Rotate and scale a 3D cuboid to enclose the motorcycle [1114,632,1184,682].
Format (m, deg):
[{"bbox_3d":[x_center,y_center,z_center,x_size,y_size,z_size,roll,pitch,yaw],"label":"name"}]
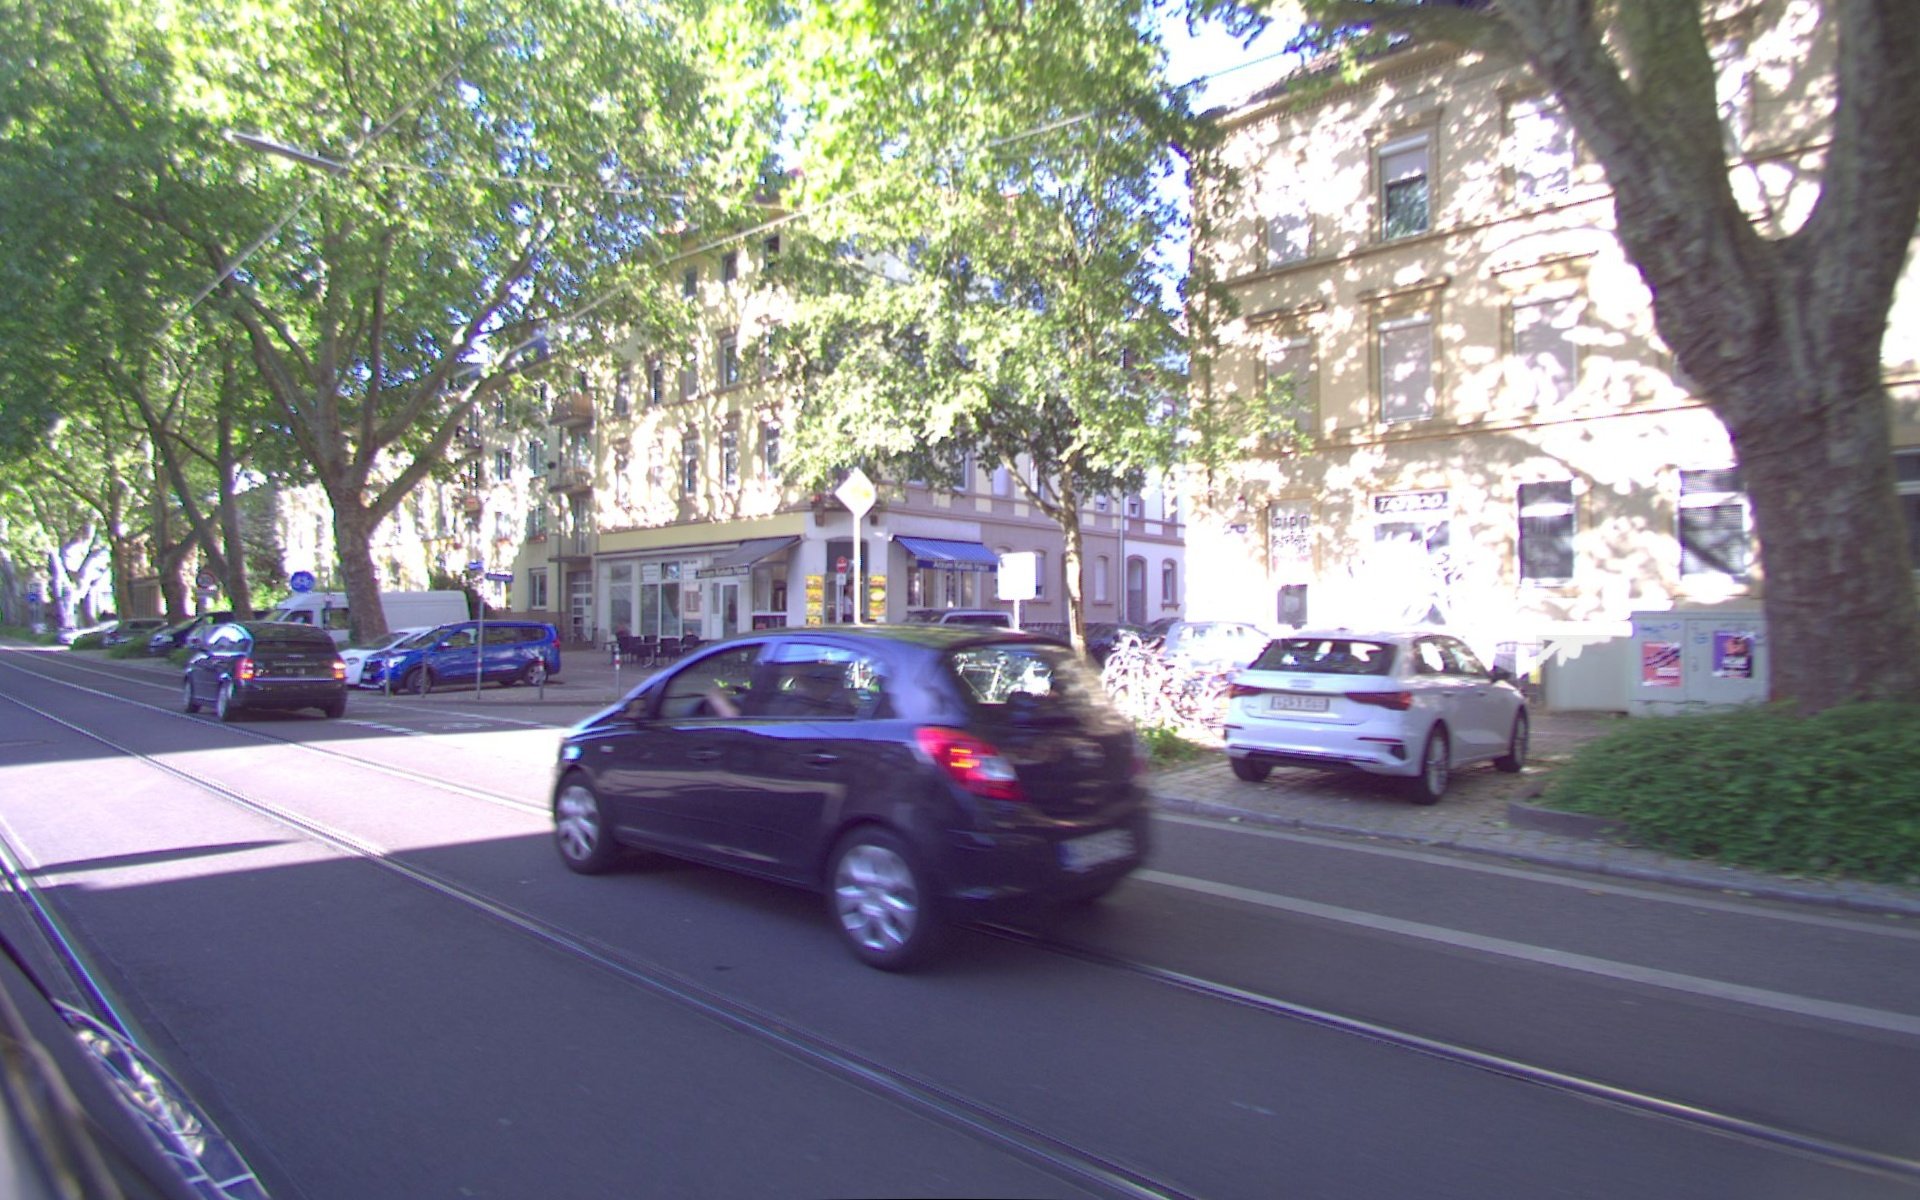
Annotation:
[{"bbox_3d":[5.018,1.487,26.972,0.581,1.271,1.877,1,-2,-43],"label":"motorcycle"}]

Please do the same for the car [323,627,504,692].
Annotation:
[{"bbox_3d":[-14.025,1.481,26.121,1.746,1.529,3.732,-1,-2,38],"label":"car"}]

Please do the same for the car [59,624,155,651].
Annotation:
[{"bbox_3d":[-48.434,2.083,57.550,1.599,1.442,3.948,-1,-1,38],"label":"car"}]

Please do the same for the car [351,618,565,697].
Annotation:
[{"bbox_3d":[-12.014,1.316,24.477,1.814,1.725,4.278,-1,-2,38],"label":"car"}]

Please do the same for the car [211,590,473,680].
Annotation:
[{"bbox_3d":[-18.660,0.965,30.927,1.999,2.426,6.532,-2,0,42],"label":"car"}]

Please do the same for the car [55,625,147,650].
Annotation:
[{"bbox_3d":[-50.477,2.163,59.511,1.410,1.385,3.948,-1,-1,38],"label":"car"}]

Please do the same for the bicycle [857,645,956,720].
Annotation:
[{"bbox_3d":[-0.824,1.272,15.831,1.536,1.096,0.397,1,-2,-30],"label":"bicycle"}]

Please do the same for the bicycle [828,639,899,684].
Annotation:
[{"bbox_3d":[-2.344,1.477,24.757,0.628,1.039,1.852,-2,-2,39],"label":"bicycle"}]

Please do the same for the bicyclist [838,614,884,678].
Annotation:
[{"bbox_3d":[-2.411,1.110,24.671,0.736,1.538,0.858,-2,-2,39],"label":"bicyclist"}]

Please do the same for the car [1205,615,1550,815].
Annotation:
[{"bbox_3d":[4.114,0.892,9.615,1.878,1.471,3.945,-1,-2,41],"label":"car"}]

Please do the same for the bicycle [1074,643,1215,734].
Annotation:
[{"bbox_3d":[2.445,1.137,13.352,1.892,1.096,0.599,1,-2,-30],"label":"bicycle"}]

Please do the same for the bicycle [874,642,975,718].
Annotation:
[{"bbox_3d":[-0.530,1.205,15.468,1.536,1.096,0.397,1,-2,-30],"label":"bicycle"}]

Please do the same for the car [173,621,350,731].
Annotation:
[{"bbox_3d":[-11.296,1.128,16.272,3.692,1.521,1.617,-1,-1,43],"label":"car"}]

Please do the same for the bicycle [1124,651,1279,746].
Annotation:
[{"bbox_3d":[2.900,1.155,12.155,1.775,1.051,0.599,0,-2,-21],"label":"bicycle"}]

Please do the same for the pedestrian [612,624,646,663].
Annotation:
[{"bbox_3d":[-10.861,1.430,33.227,0.930,1.250,0.699,-2,-2,44],"label":"pedestrian"}]

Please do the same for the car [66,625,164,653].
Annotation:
[{"bbox_3d":[-46.596,2.127,55.881,1.526,1.442,3.948,-1,-1,38],"label":"car"}]

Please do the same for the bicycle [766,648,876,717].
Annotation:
[{"bbox_3d":[-2.328,1.371,17.096,1.830,1.096,0.397,1,-2,-30],"label":"bicycle"}]

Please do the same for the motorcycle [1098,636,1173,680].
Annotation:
[{"bbox_3d":[4.495,1.478,25.998,1.830,1.080,0.526,-1,-2,29],"label":"motorcycle"}]

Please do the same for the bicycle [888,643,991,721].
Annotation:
[{"bbox_3d":[-0.297,1.203,15.084,1.536,1.096,0.397,1,-2,-30],"label":"bicycle"}]

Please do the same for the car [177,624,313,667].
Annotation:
[{"bbox_3d":[-27.768,1.732,39.396,1.869,1.456,4.015,-2,0,42],"label":"car"}]

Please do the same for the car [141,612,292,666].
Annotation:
[{"bbox_3d":[-29.922,1.513,40.820,1.921,1.922,4.580,-2,0,40],"label":"car"}]

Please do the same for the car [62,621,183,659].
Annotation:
[{"bbox_3d":[-40.904,1.918,49.513,2.000,1.625,4.308,-2,0,42],"label":"car"}]

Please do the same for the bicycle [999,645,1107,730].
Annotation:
[{"bbox_3d":[1.301,1.191,14.021,1.536,1.096,0.397,1,-2,-30],"label":"bicycle"}]

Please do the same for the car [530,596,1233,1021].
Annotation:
[{"bbox_3d":[-0.625,0.792,5.516,3.720,1.521,1.700,-1,-2,41],"label":"car"}]

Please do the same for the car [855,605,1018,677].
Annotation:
[{"bbox_3d":[-0.615,1.143,29.652,4.519,1.894,2.130,1,1,-45],"label":"car"}]

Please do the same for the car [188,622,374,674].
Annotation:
[{"bbox_3d":[-22.933,1.571,34.334,1.999,1.456,4.879,-2,0,42],"label":"car"}]

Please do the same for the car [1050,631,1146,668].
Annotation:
[{"bbox_3d":[4.889,1.700,35.668,1.756,1.186,3.350,-1,-2,43],"label":"car"}]

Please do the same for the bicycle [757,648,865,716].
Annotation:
[{"bbox_3d":[-2.549,1.388,17.467,1.830,1.096,0.397,1,-2,-30],"label":"bicycle"}]

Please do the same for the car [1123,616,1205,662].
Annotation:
[{"bbox_3d":[7.954,1.489,39.375,1.756,1.706,3.130,-1,-2,43],"label":"car"}]

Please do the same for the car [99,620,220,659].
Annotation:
[{"bbox_3d":[-38.569,1.865,48.821,2.000,1.625,4.308,-2,0,42],"label":"car"}]

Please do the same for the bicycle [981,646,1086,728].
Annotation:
[{"bbox_3d":[1.065,1.224,14.457,1.536,1.096,0.397,1,-2,-30],"label":"bicycle"}]

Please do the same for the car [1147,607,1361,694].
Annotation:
[{"bbox_3d":[5.410,0.894,18.825,3.485,1.471,1.583,-1,-2,39],"label":"car"}]

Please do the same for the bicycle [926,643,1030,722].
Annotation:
[{"bbox_3d":[0.275,1.191,14.856,1.536,1.096,0.397,1,-2,-30],"label":"bicycle"}]

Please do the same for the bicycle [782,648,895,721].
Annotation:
[{"bbox_3d":[-1.964,1.350,16.473,1.830,1.096,0.397,1,-2,-30],"label":"bicycle"}]
